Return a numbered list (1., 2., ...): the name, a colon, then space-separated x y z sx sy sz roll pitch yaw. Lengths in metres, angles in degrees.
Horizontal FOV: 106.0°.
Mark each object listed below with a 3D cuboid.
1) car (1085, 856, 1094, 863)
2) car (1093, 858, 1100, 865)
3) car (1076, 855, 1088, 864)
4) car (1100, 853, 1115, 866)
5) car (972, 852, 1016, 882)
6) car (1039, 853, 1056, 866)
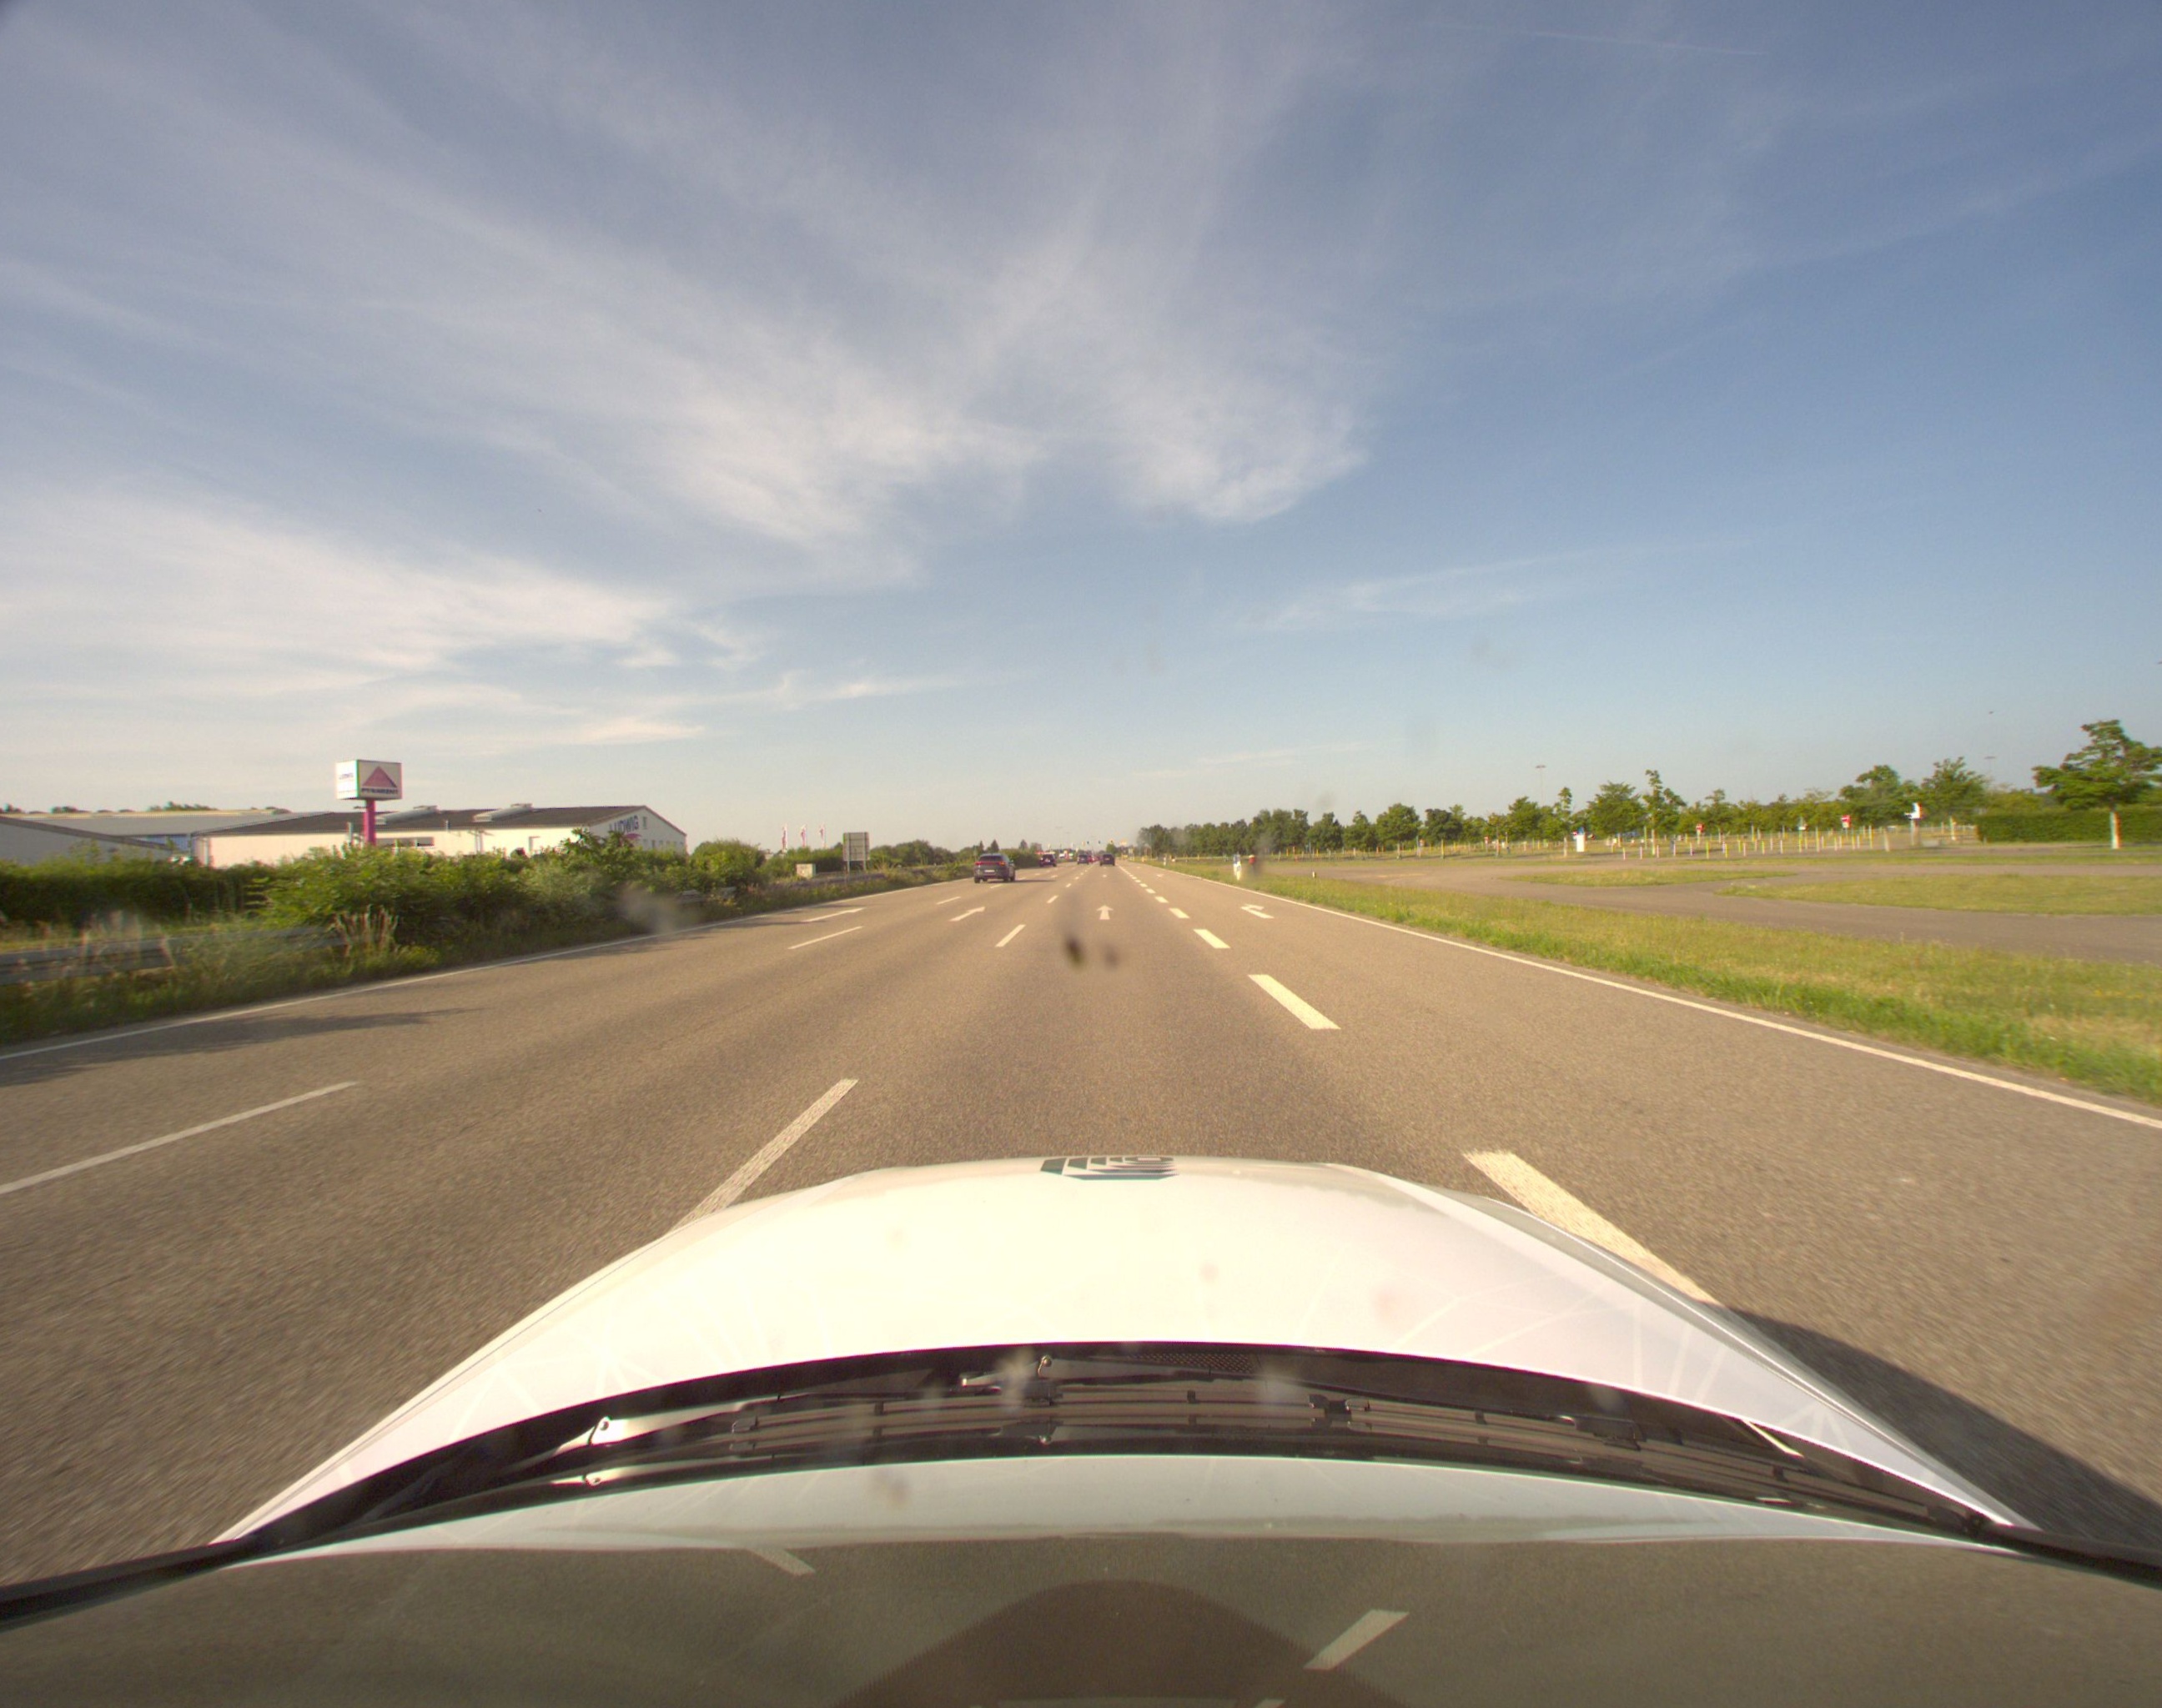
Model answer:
1. car: 1.689 1.051 155.710 1.641 1.463 3.982 0 0 1
2. car: 3.830 1.953 201.466 1.639 1.728 3.401 -1 -1 1
3. car: 0.213 0.903 130.108 1.806 1.463 4.402 0 0 1
4. car: 3.451 0.684 106.191 1.925 1.680 4.402 0 0 1
5. car: -4.755 0.691 45.212 1.839 1.612 4.402 0 0 1
6. car: -4.236 0.692 103.906 1.925 1.680 4.402 0 0 1
